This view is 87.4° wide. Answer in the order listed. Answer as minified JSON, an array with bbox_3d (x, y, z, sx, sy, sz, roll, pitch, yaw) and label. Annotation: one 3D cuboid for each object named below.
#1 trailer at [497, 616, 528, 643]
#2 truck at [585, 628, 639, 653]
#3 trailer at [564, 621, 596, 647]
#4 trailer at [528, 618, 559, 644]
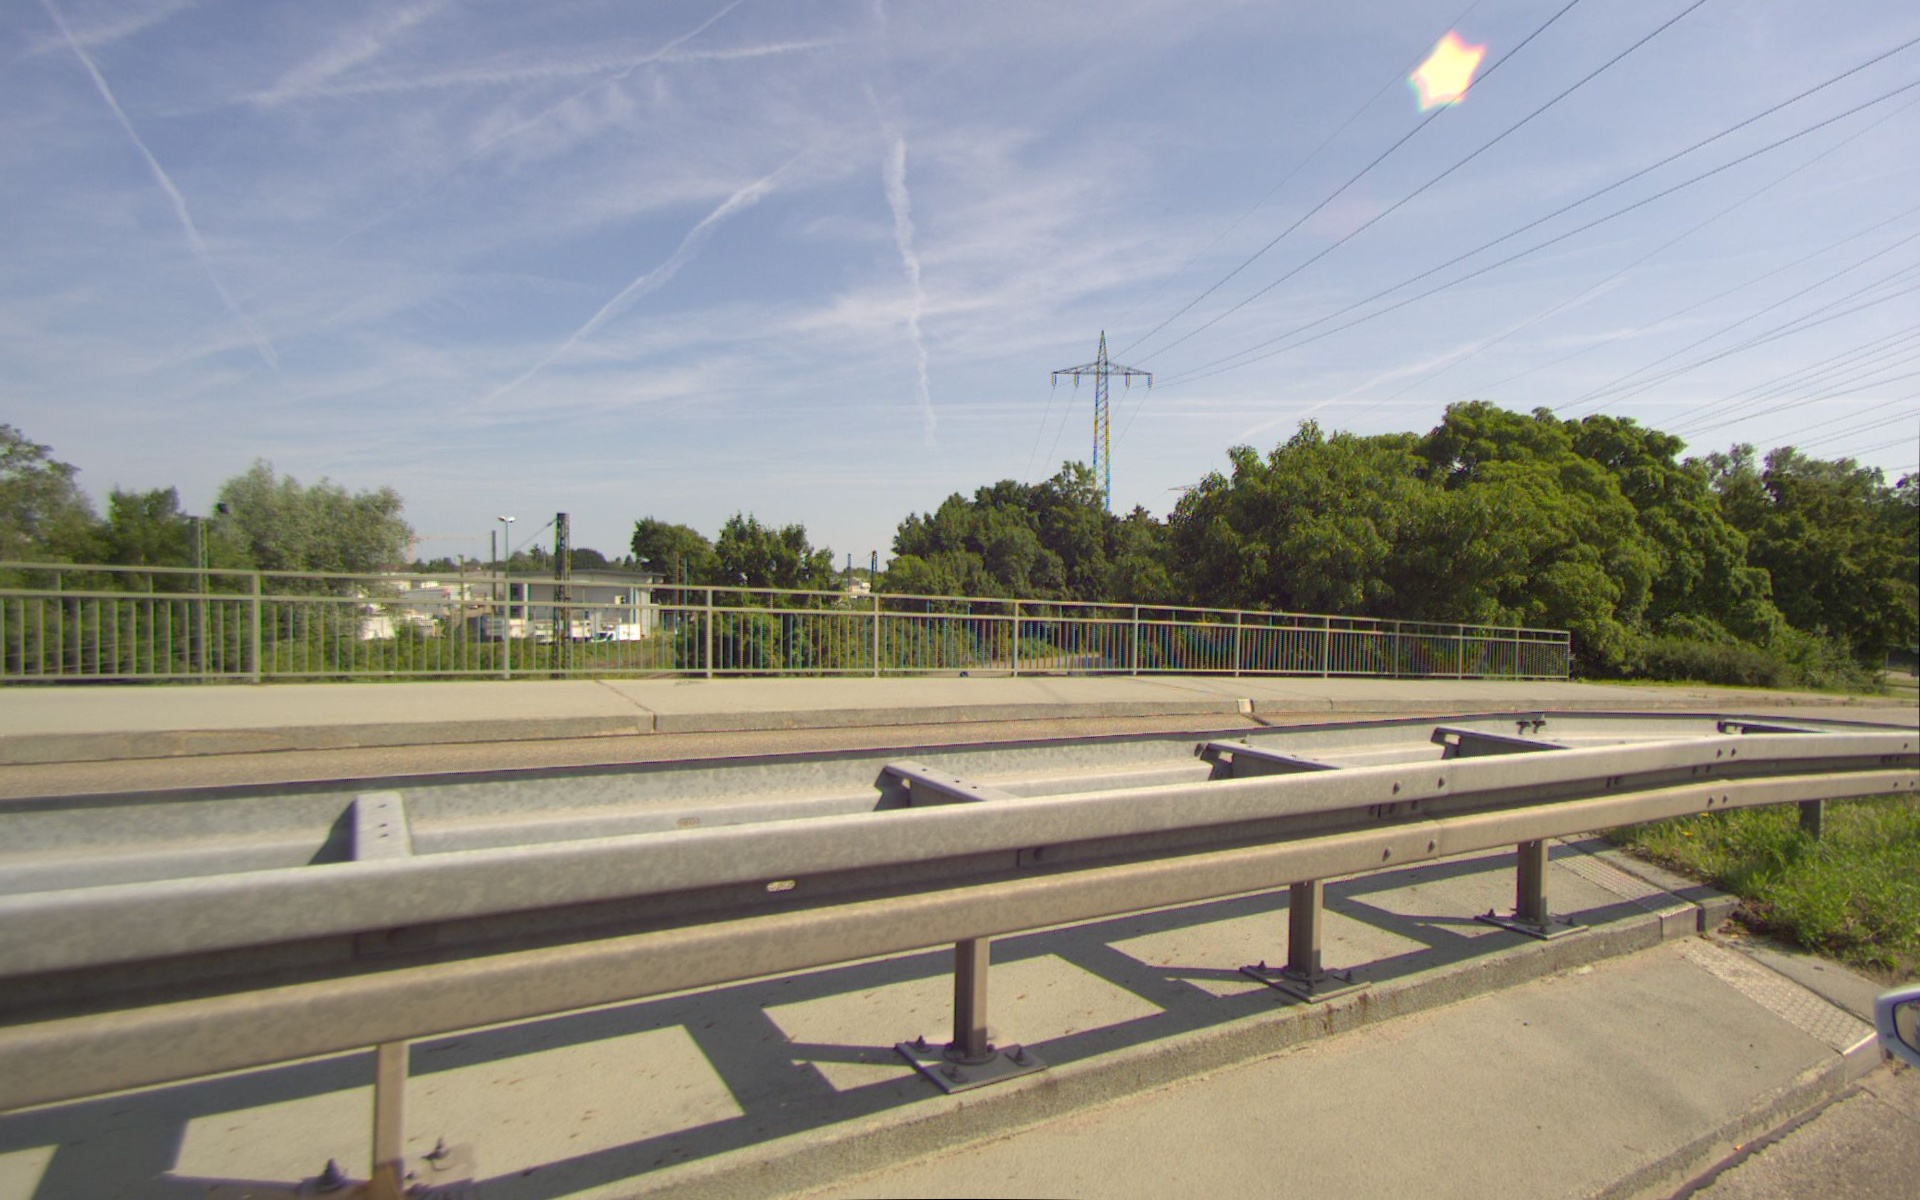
[{"bbox_3d":[-51.227,3.316,114.904,2.586,2.848,6.724,0,1,-29],"label":"trailer"},{"bbox_3d":[-37.674,4.315,108.978,2.255,2.432,5.600,0,1,26],"label":"truck"},{"bbox_3d":[-45.600,4.039,120.309,2.586,2.848,6.724,0,1,-29],"label":"trailer"},{"bbox_3d":[-48.684,3.577,117.307,2.586,2.848,6.724,0,1,-29],"label":"trailer"}]
